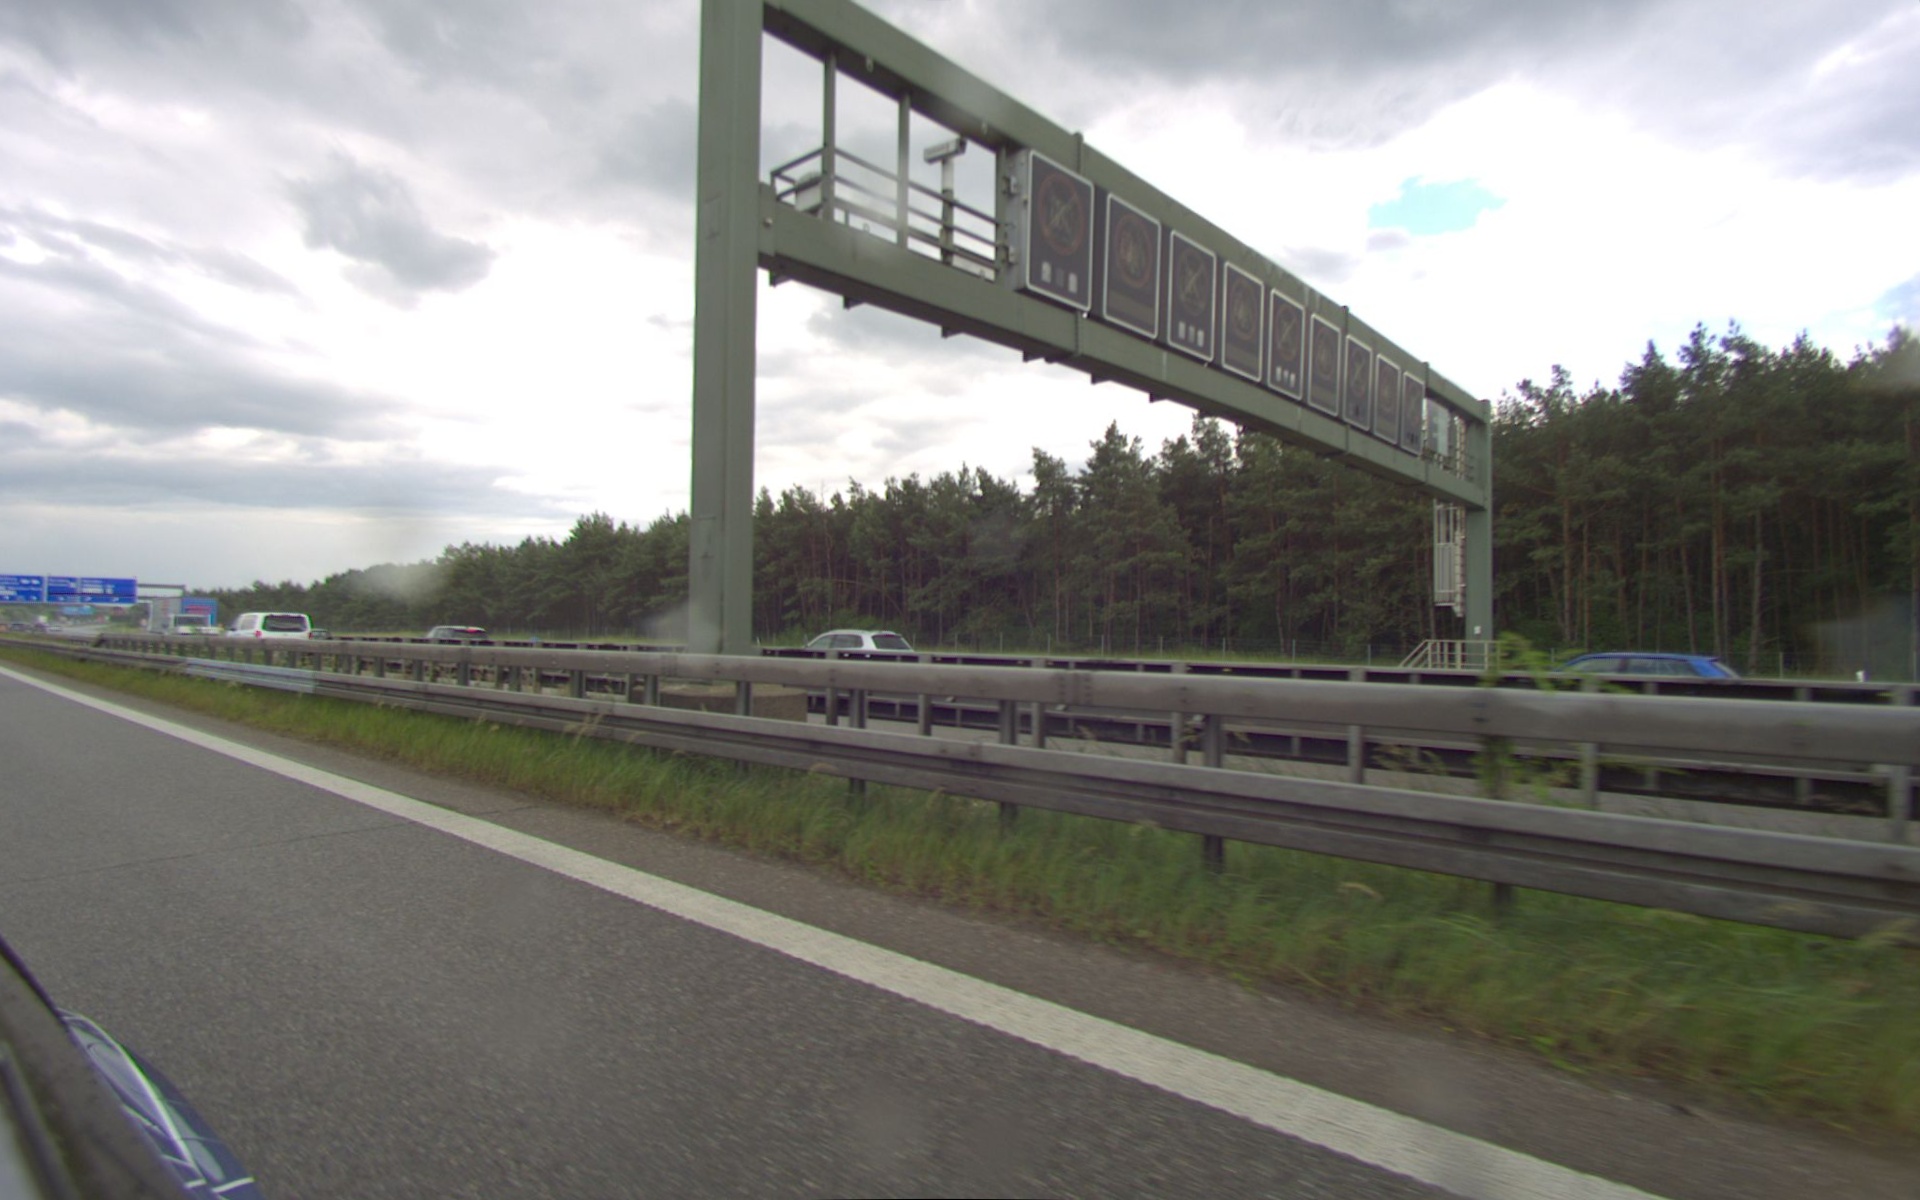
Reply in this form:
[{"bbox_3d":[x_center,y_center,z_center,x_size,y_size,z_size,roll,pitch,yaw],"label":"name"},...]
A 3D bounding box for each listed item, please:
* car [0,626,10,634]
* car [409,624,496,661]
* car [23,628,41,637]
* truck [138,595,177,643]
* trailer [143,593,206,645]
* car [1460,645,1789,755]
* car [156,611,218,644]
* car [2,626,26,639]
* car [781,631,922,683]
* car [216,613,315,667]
[{"bbox_3d":[-158.764,4.944,167.546,4.652,1.375,1.895,-2,-2,43],"label":"car"},{"bbox_3d":[-18.324,1.531,36.469,3.580,1.267,1.549,-1,-4,41],"label":"car"},{"bbox_3d":[-154.446,5.426,168.423,4.652,1.467,1.895,-2,-2,43],"label":"car"},{"bbox_3d":[-74.553,1.766,94.029,4.707,4.269,2.116,-1,0,43],"label":"truck"},{"bbox_3d":[-69.106,1.662,88.895,14.626,4.273,2.075,-1,0,43],"label":"trailer"},{"bbox_3d":[10.032,1.414,15.438,3.998,1.386,1.725,-1,-2,41],"label":"car"},{"bbox_3d":[-50.780,1.774,66.416,6.741,2.029,2.258,-2,0,44],"label":"car"},{"bbox_3d":[-128.373,4.394,137.324,4.470,1.674,1.840,-1,-3,41],"label":"car"},{"bbox_3d":[-2.943,1.472,27.031,3.840,1.267,1.608,-1,-1,41],"label":"car"},{"bbox_3d":[-25.941,1.494,37.759,4.895,1.882,1.878,-2,-3,41],"label":"car"}]
